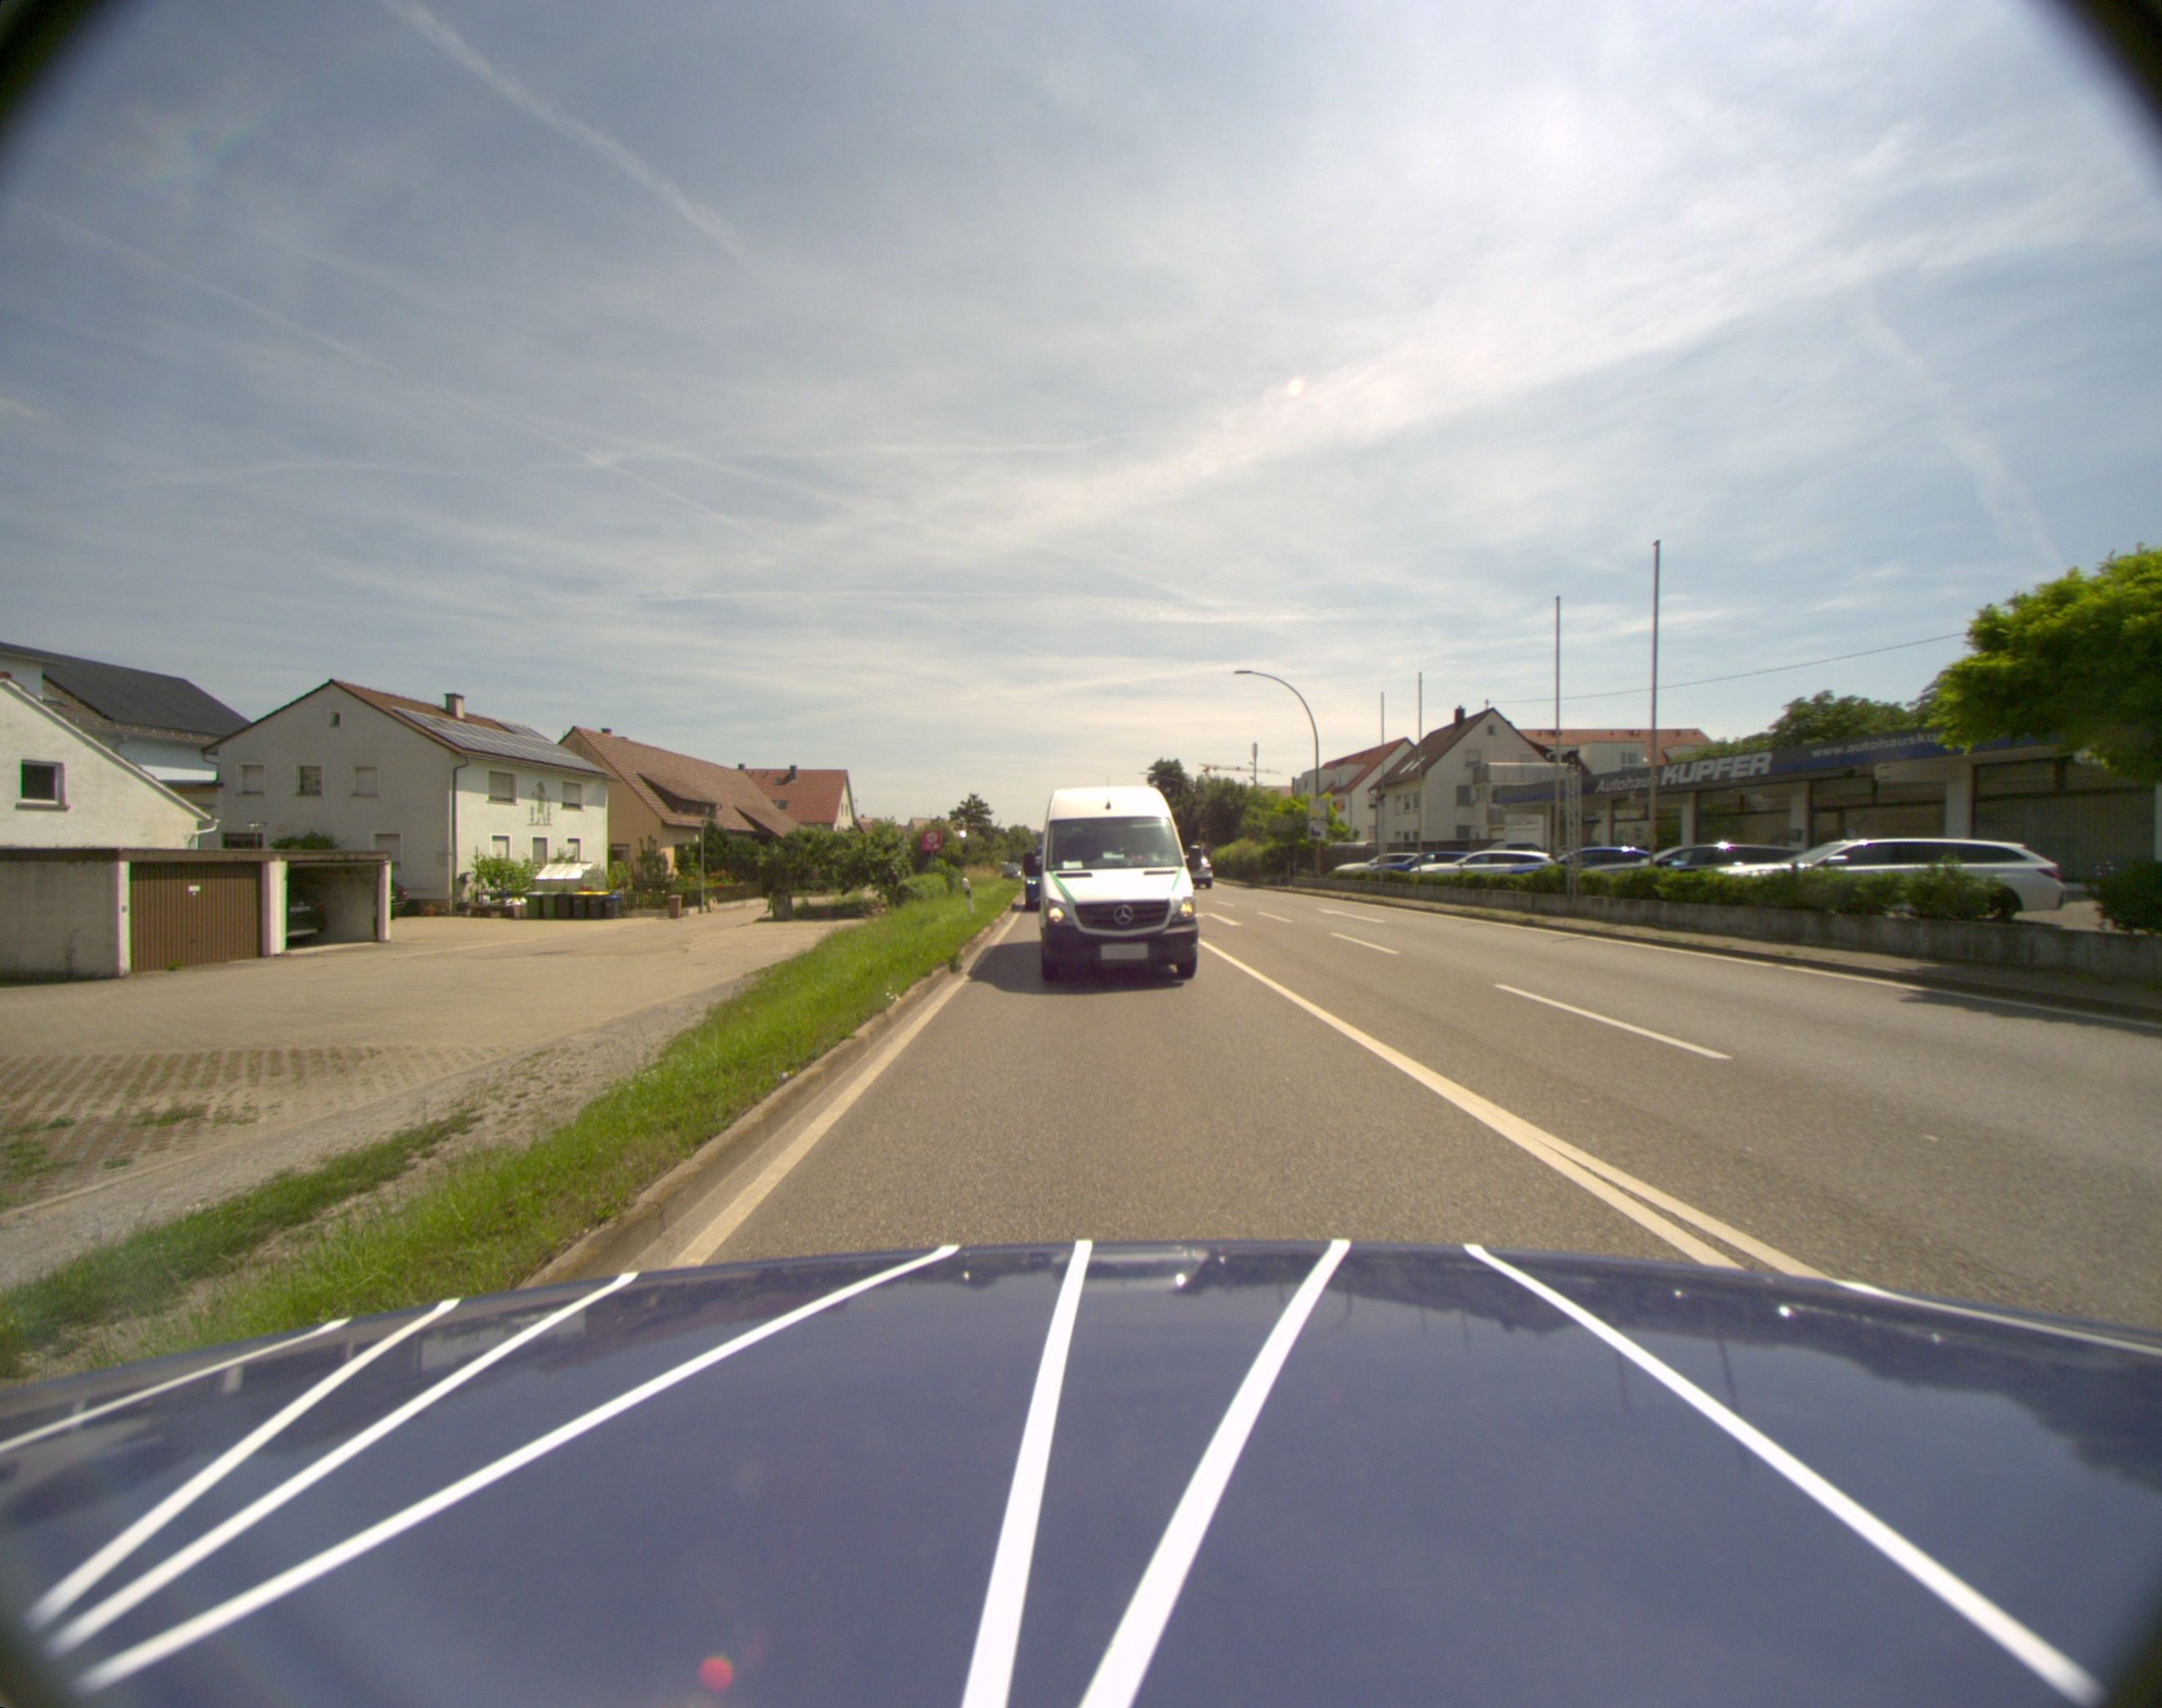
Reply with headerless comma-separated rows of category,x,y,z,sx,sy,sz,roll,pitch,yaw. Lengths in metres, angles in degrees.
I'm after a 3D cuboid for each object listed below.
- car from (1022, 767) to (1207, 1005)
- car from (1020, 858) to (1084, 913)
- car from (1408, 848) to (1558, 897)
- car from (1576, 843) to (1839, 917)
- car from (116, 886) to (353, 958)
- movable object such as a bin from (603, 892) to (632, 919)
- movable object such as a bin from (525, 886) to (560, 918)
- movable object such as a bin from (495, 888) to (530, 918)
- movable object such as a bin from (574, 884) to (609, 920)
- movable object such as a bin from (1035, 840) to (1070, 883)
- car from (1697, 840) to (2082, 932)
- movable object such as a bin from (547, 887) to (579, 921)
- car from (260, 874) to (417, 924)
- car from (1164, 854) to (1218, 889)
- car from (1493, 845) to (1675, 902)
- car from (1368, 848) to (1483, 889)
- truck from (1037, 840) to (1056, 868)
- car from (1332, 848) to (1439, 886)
car,0.343,0.366,11.267,1.978,2.583,5.633,-2,0,-1
car,-0.875,0.948,24.204,1.824,1.574,3.901,-1,0,-1
car,13.484,0.636,25.690,4.303,1.510,2.003,-2,0,27
car,14.046,0.595,17.380,4.251,1.536,1.853,-2,0,23
car,-21.561,1.694,19.479,3.997,1.594,1.826,-1,0,1
movable object such as a bin,-18.841,2.088,30.892,0.645,1.021,0.756,-2,0,-1
movable object such as a bin,-22.030,1.955,31.077,0.745,1.239,0.889,-2,0,-1
movable object such as a bin,-23.039,1.992,30.819,0.740,1.149,0.830,-2,0,-1
movable object such as a bin,-19.849,1.939,30.801,0.765,1.362,0.946,-2,0,-1
movable object such as a bin,-1.904,0.506,51.707,1.998,2.710,5.419,-2,0,1
car,14.036,0.546,13.605,4.329,1.451,1.858,-2,0,24
movable object such as a bin,-21.188,2.043,31.102,0.678,1.330,0.820,-2,0,-1
car,-27.567,1.639,28.314,3.997,1.724,1.828,1,1,0
car,5.554,0.842,38.840,1.851,1.645,4.402,-2,0,-3
car,13.904,0.542,21.313,3.990,1.433,1.857,-2,0,25
car,13.566,0.567,30.002,3.990,1.455,2.003,-2,0,26
truck,-5.114,0.003,112.158,2.506,3.847,5.497,-2,0,-1
car,13.586,0.580,33.951,4.255,1.521,2.003,-2,0,26
